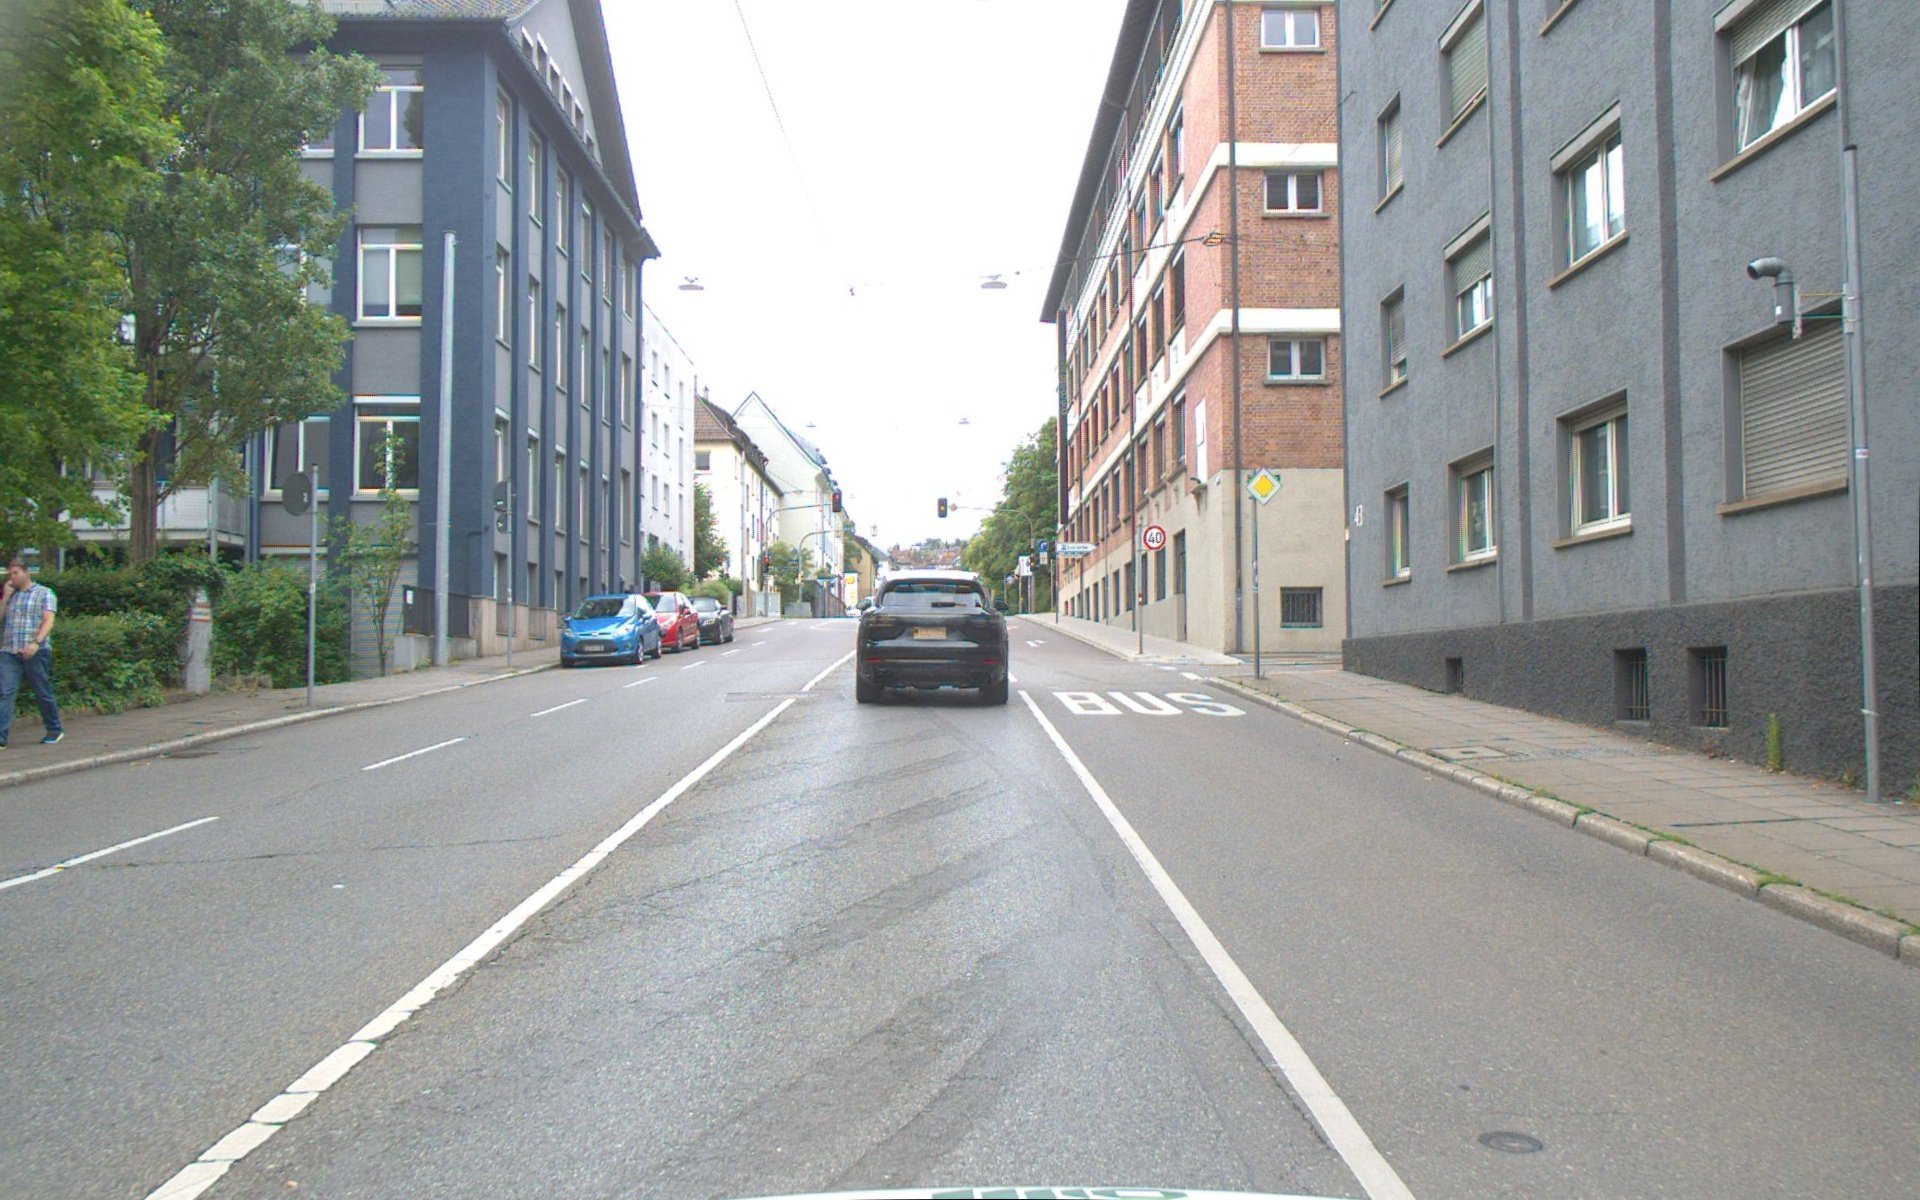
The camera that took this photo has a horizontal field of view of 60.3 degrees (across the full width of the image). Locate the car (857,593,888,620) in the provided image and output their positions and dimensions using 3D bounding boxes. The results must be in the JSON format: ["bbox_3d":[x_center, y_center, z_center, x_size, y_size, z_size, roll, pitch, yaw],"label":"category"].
[{"bbox_3d":[-6.191,0.444,117.763,1.859,1.721,4.001,-3,0,1],"label":"car"}]

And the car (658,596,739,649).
[{"bbox_3d":[-7.421,0.608,47.290,1.679,1.364,3.904,-3,0,-1],"label":"car"}]

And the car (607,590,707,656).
[{"bbox_3d":[-7.535,0.538,41.421,1.679,1.482,3.989,-3,0,0],"label":"car"}]

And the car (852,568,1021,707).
[{"bbox_3d":[-0.420,0.450,22.346,1.984,1.670,4.352,1,0,-5],"label":"car"}]

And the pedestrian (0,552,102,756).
[{"bbox_3d":[-9.291,0.520,16.593,0.864,1.984,0.867,2,0,-1],"label":"pedestrian"}]

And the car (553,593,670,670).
[{"bbox_3d":[-7.487,0.639,35.840,1.679,1.448,3.989,-3,1,-1],"label":"car"}]
